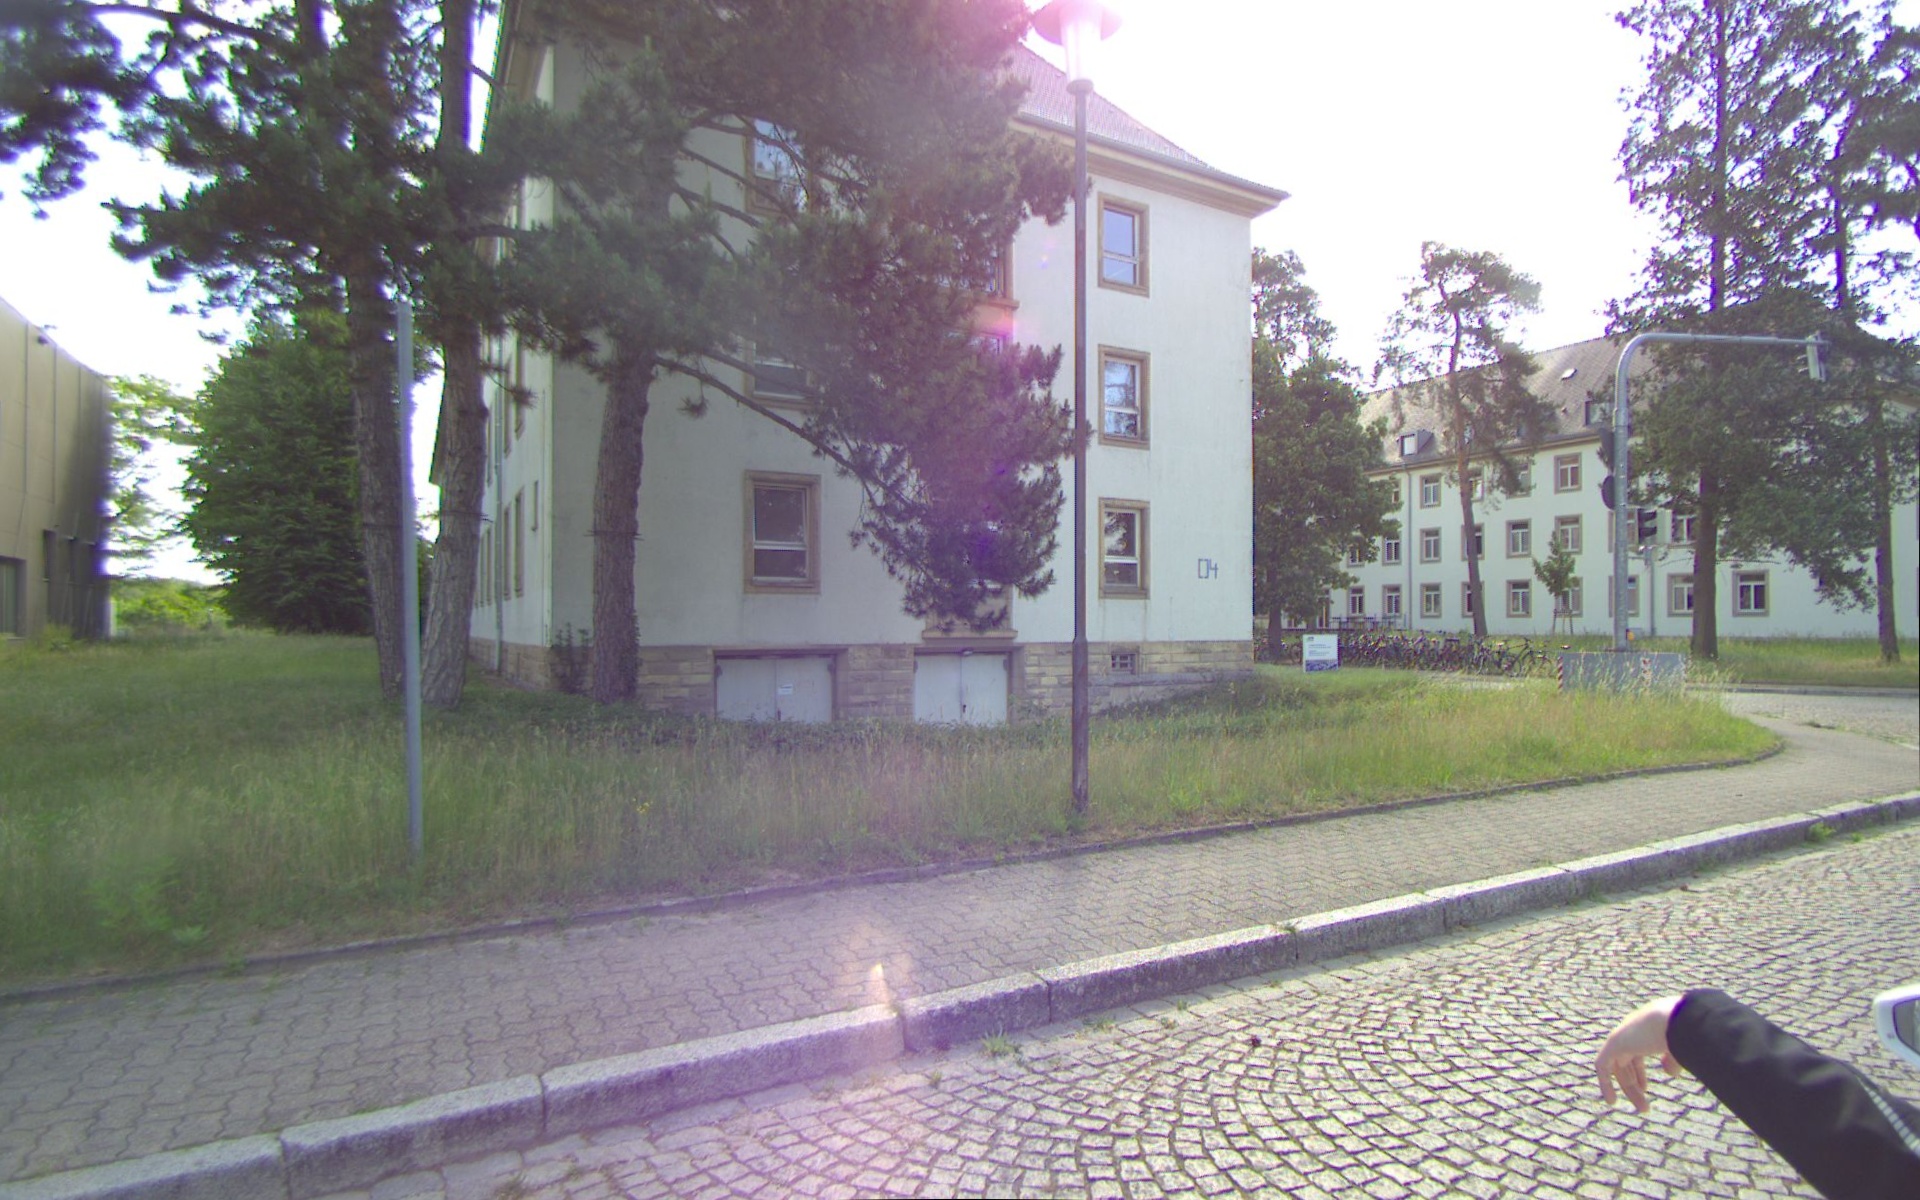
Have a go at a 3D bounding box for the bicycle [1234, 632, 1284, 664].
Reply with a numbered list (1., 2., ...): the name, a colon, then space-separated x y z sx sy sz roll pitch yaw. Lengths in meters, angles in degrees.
1. bicycle: 11.680 1.859 39.235 1.794 1.237 0.515 -1 -1 25

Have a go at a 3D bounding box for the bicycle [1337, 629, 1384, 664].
1. bicycle: 14.539 1.659 36.419 1.914 1.237 0.512 1 -1 -31

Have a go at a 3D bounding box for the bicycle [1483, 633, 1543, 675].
1. bicycle: 16.977 1.645 30.802 2.099 1.237 0.630 1 -1 -31

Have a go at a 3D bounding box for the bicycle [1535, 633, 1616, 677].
1. bicycle: 17.844 1.573 29.175 0.627 1.237 1.936 0 -2 -29

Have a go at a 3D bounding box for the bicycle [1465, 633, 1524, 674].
1. bicycle: 16.689 1.646 31.332 2.080 1.237 0.630 1 -1 -31

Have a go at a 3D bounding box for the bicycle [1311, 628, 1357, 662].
1. bicycle: 13.959 1.662 37.472 1.914 1.237 0.512 1 -1 -31

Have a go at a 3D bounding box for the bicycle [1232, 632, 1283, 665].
1. bicycle: 11.441 1.859 38.632 1.794 1.237 0.515 -1 -1 25

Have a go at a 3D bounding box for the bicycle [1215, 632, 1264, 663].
1. bicycle: 11.186 1.903 40.234 1.792 1.237 0.516 0 -1 7

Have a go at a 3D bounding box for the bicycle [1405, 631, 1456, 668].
1. bicycle: 15.943 1.661 34.010 1.992 1.237 0.512 1 -1 -31

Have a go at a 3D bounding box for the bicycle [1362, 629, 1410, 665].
1. bicycle: 15.047 1.656 35.442 1.931 1.237 0.512 1 -1 -31

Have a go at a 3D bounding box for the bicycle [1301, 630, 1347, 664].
1. bicycle: 13.736 1.756 37.876 1.914 1.237 0.512 1 -1 -31

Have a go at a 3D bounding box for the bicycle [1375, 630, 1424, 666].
1. bicycle: 15.331 1.659 35.000 1.954 1.237 0.512 1 -1 -31

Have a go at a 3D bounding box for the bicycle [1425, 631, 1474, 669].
1. bicycle: 16.427 1.662 33.701 1.877 1.237 0.545 1 -1 -31

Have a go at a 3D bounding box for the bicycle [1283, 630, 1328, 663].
1. bicycle: 13.314 1.758 38.645 1.914 1.237 0.512 1 -1 -31

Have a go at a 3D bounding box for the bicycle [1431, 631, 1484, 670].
1. bicycle: 16.347 1.658 32.990 2.005 1.237 0.576 1 -1 -31

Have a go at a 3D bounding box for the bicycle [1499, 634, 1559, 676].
1. bicycle: 17.220 1.643 30.384 2.089 1.237 0.630 1 -1 -31

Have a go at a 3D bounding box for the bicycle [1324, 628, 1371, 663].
1. bicycle: 14.266 1.661 36.945 1.914 1.237 0.512 1 -1 -31

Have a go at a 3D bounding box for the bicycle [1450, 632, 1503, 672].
1. bicycle: 16.601 1.653 32.272 1.966 1.237 0.569 1 -1 -31

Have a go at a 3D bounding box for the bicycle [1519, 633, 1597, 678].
1. bicycle: 17.186 1.586 28.906 0.627 1.237 1.853 0 -2 -29

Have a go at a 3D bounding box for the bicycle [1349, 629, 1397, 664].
1. bicycle: 14.786 1.658 35.932 1.914 1.237 0.512 1 -1 -31

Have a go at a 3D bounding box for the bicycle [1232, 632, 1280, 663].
1. bicycle: 11.983 1.915 40.698 1.792 1.237 0.516 0 -1 7

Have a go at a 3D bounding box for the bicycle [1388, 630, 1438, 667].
1. bicycle: 15.588 1.661 34.552 1.954 1.237 0.512 1 -1 -31
